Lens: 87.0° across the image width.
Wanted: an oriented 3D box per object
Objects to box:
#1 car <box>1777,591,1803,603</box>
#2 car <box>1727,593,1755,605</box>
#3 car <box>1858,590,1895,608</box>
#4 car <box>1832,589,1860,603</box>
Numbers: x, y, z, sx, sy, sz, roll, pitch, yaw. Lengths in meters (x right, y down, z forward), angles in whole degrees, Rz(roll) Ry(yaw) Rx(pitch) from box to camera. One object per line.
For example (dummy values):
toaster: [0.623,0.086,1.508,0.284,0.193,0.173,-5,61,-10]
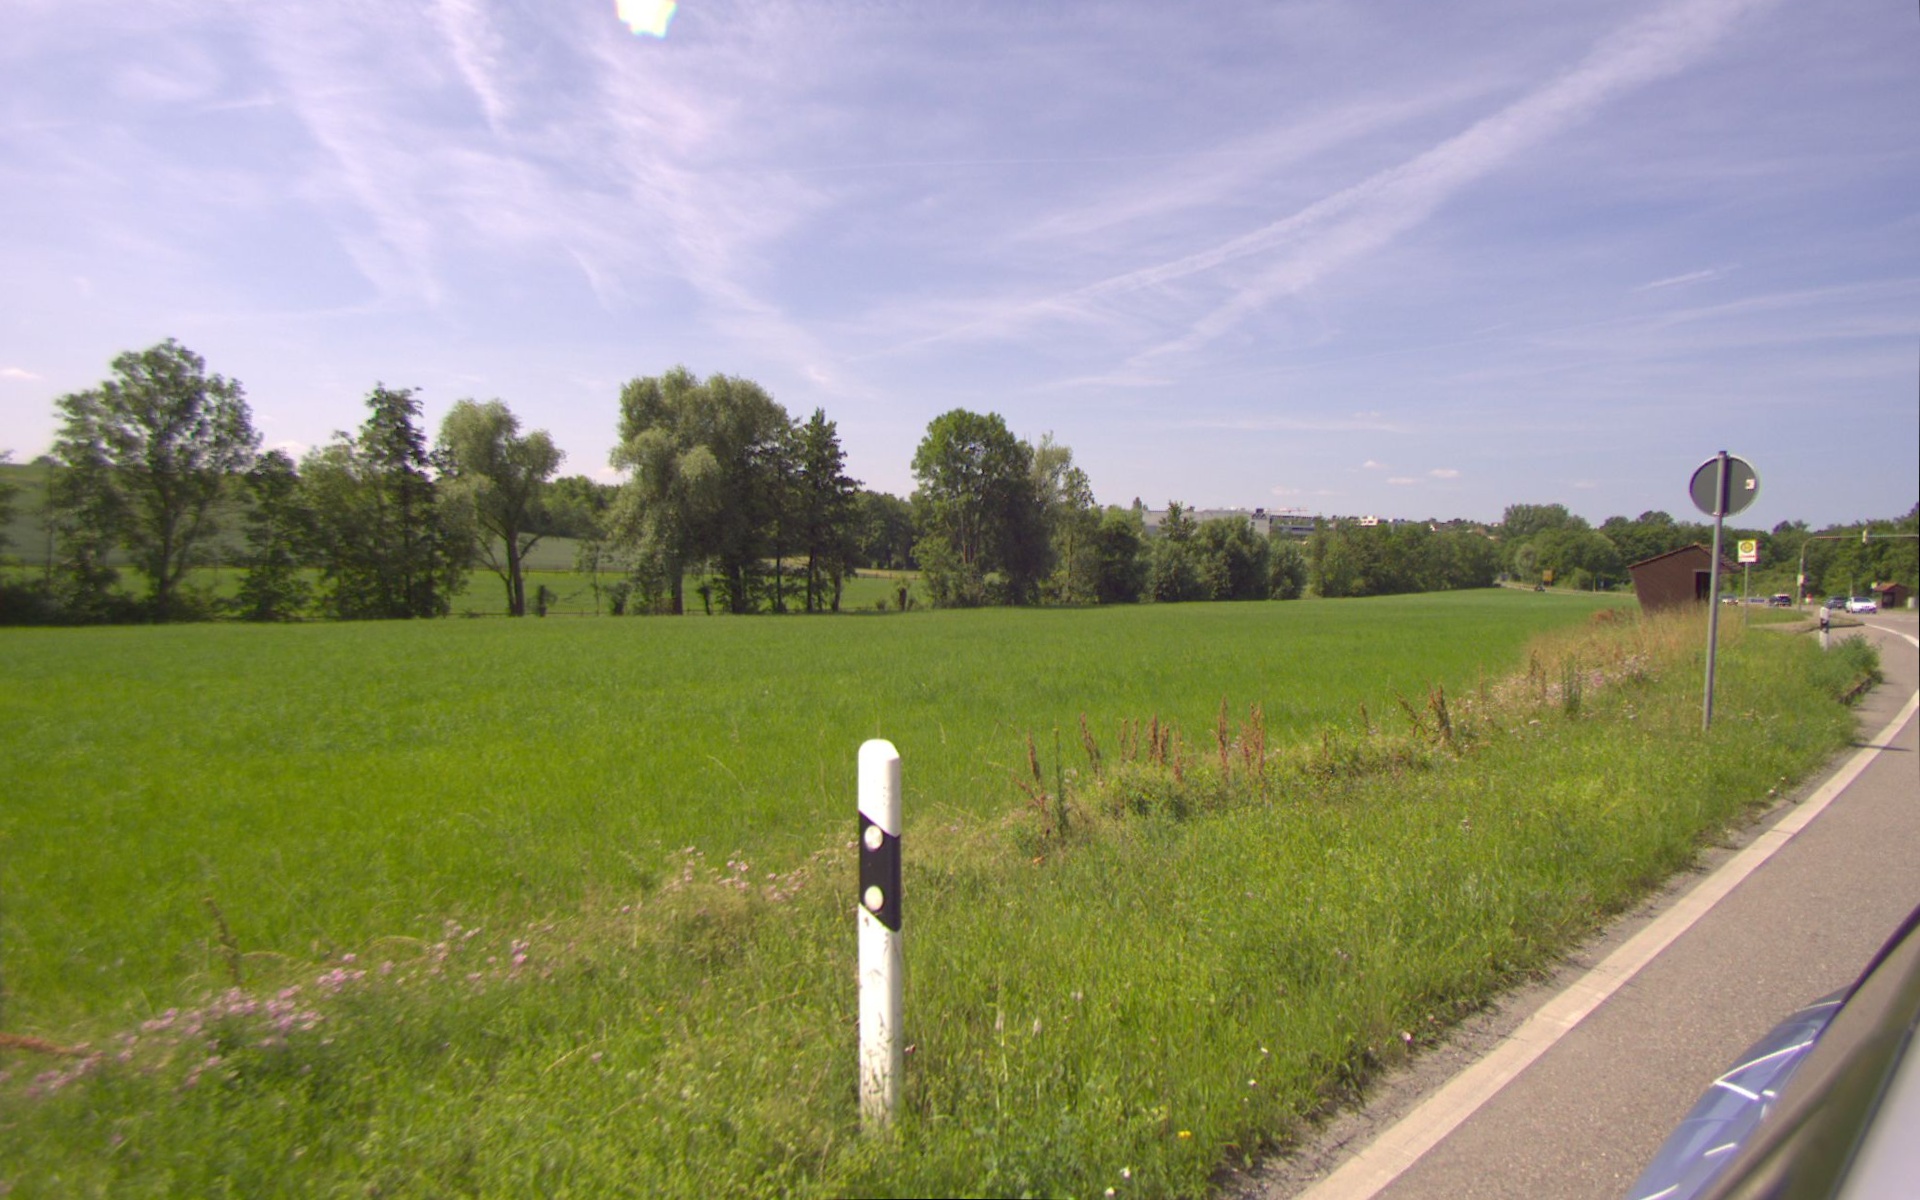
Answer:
car: [109.980,-0.432,134.140,1.963,1.582,4.146,0,0,29]
car: [104.432,-0.188,135.390,1.977,1.605,3.970,0,0,22]
car: [83.356,-0.093,92.097,1.988,1.605,3.949,0,0,36]
car: [100.315,-0.443,114.583,1.698,1.501,3.791,0,0,30]
